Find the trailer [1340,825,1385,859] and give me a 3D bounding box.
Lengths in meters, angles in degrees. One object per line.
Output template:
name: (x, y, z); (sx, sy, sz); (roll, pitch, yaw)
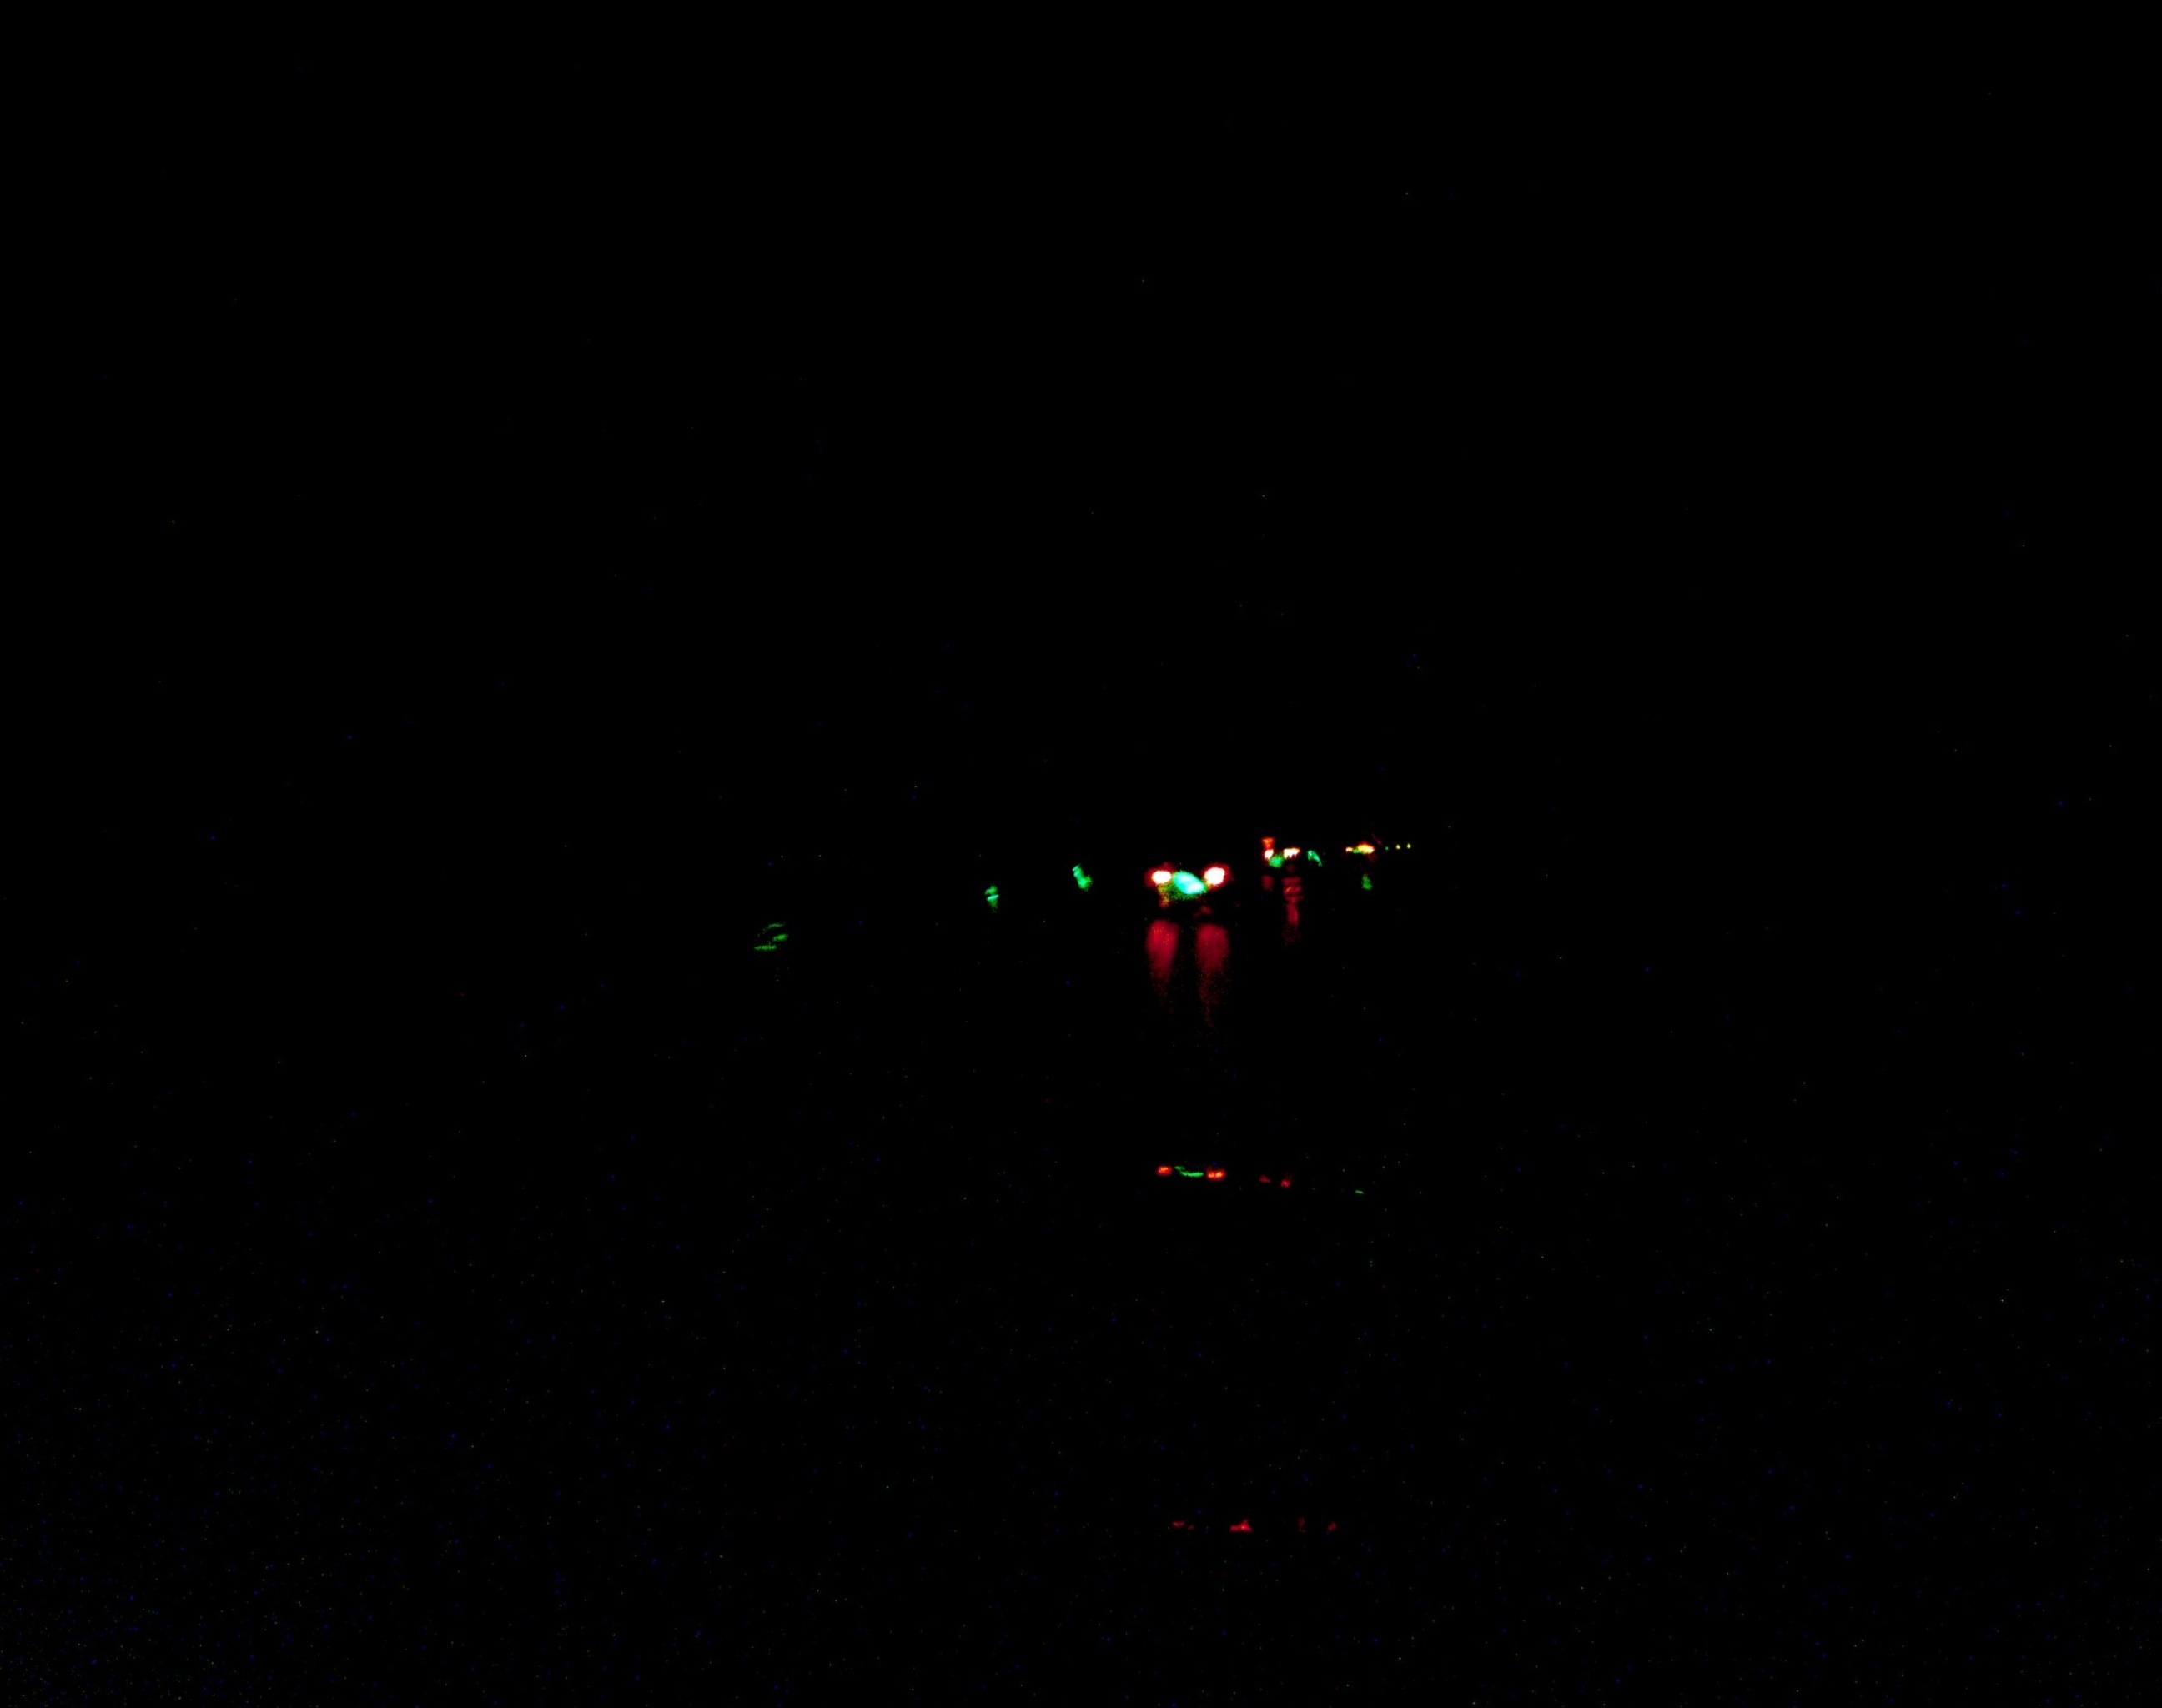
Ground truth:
trailer: (20.272, -0.759, 58.251); (2.059, 2.014, 10.706); (-5, -3, 24)
